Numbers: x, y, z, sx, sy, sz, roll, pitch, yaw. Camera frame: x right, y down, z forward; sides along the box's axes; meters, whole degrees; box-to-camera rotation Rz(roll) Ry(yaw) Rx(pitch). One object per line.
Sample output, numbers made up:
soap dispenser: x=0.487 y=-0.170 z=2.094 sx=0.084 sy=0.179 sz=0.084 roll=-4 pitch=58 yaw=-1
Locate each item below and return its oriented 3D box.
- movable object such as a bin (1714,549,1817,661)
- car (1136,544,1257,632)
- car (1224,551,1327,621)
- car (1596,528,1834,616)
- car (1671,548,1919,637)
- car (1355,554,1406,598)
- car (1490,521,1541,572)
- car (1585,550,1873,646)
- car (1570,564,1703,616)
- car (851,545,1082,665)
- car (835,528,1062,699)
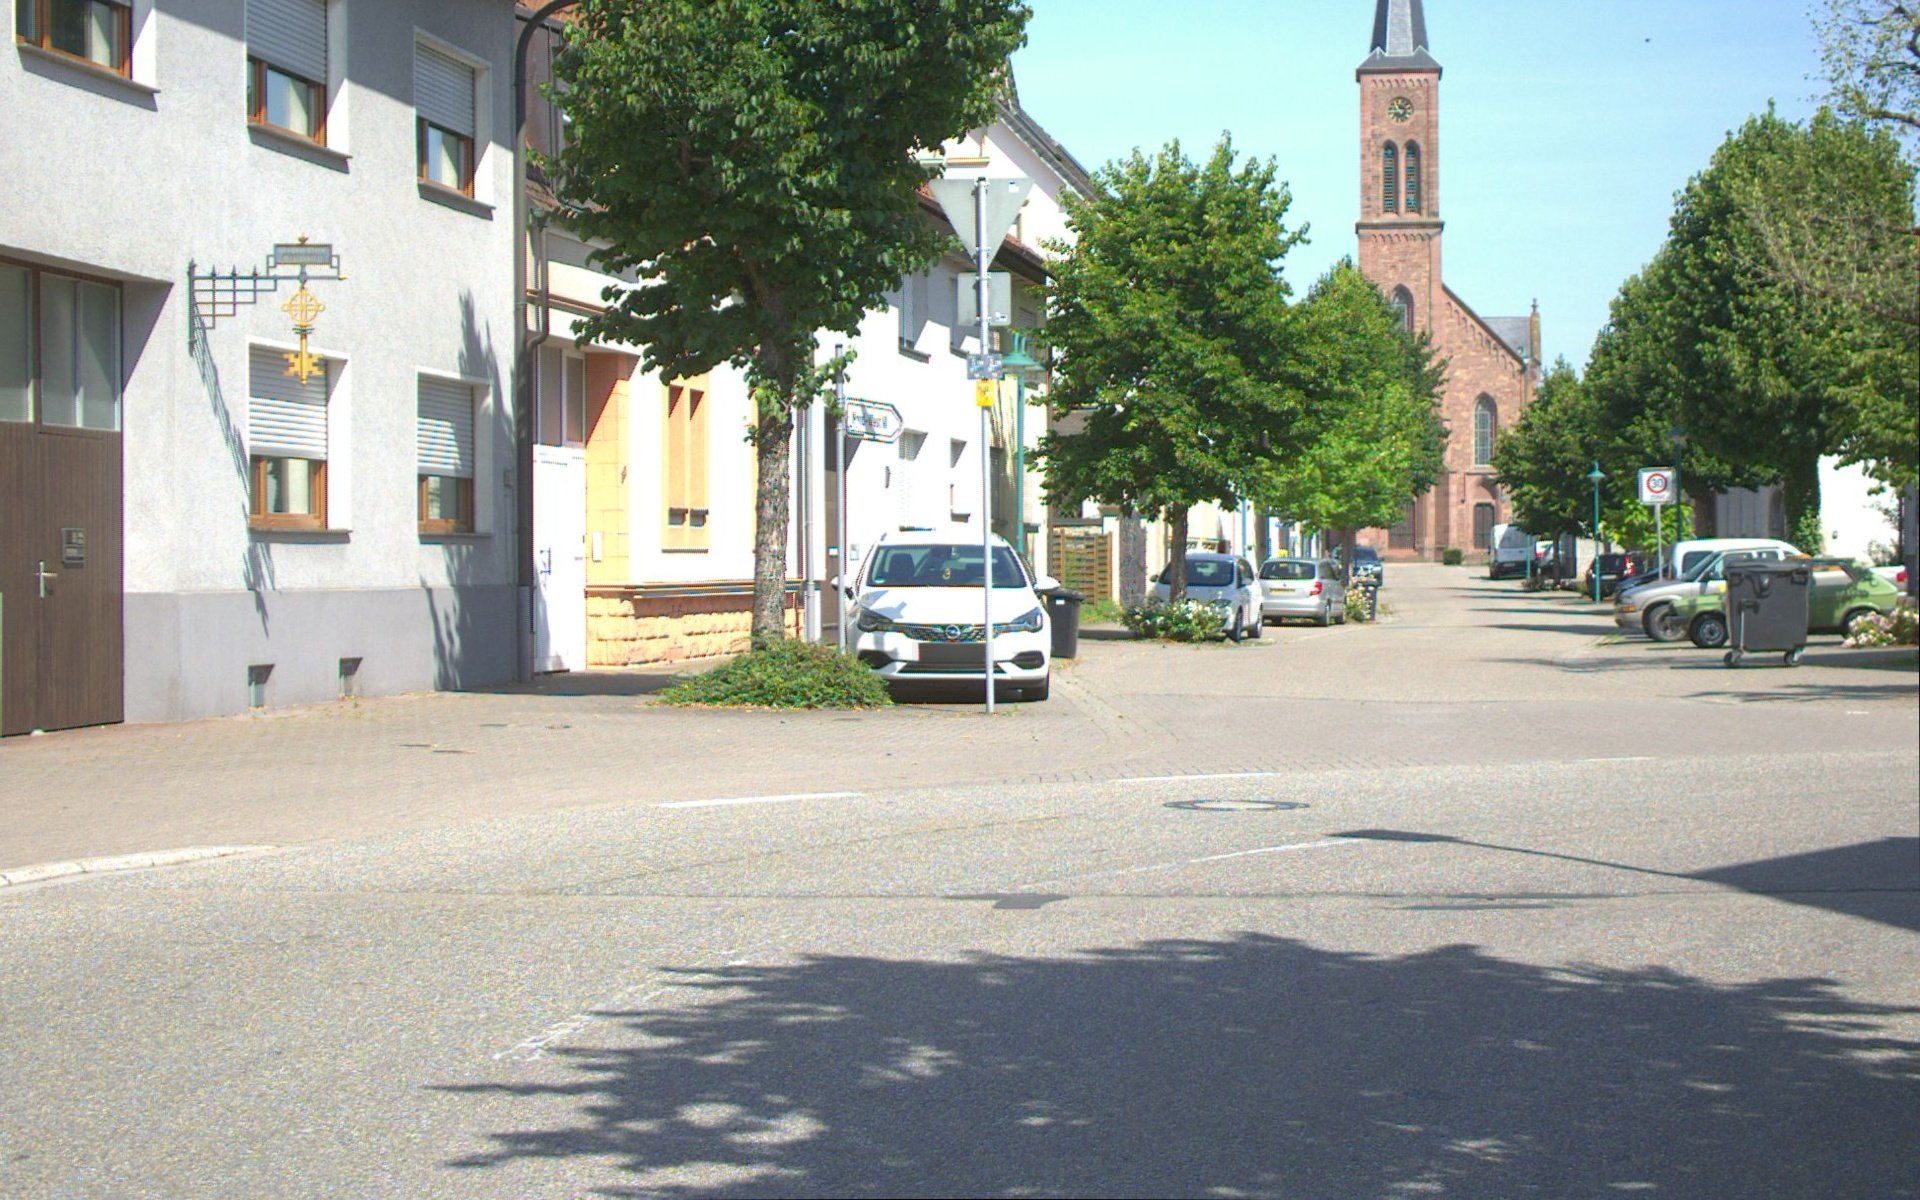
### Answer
movable object such as a bin: x=9.741 y=0.056 z=41.596 sx=1.188 sy=1.333 sz=0.788 roll=0 pitch=1 yaw=13
car: x=4.399 y=-0.242 z=63.562 sx=1.994 sy=1.568 sz=3.999 roll=0 pitch=1 yaw=7
car: x=6.783 y=-0.322 z=74.232 sx=1.993 sy=1.459 sz=4.000 roll=1 pitch=1 yaw=2
car: x=13.837 y=-0.530 z=63.237 sx=4.151 sy=1.563 sz=1.999 roll=0 pitch=1 yaw=9
car: x=13.248 y=-0.137 z=54.076 sx=3.925 sy=1.340 sz=1.999 roll=0 pitch=1 yaw=9
car: x=17.621 y=-1.025 z=144.189 sx=1.994 sy=1.809 sz=3.999 roll=0 pitch=1 yaw=5
car: x=25.666 y=-2.454 z=159.062 sx=2.246 sy=2.271 sz=4.501 roll=1 pitch=0 yaw=9
car: x=13.494 y=-0.052 z=60.582 sx=4.805 sy=1.618 sz=1.999 roll=0 pitch=1 yaw=9
car: x=21.474 y=-0.330 z=109.208 sx=3.988 sy=1.612 sz=2.000 roll=0 pitch=1 yaw=7
car: x=0.166 y=0.017 z=44.510 sx=1.985 sy=1.435 sz=5.208 roll=0 pitch=1 yaw=12
car: x=-0.176 y=0.071 z=31.174 sx=1.849 sy=1.435 sz=4.514 roll=0 pitch=1 yaw=-3
